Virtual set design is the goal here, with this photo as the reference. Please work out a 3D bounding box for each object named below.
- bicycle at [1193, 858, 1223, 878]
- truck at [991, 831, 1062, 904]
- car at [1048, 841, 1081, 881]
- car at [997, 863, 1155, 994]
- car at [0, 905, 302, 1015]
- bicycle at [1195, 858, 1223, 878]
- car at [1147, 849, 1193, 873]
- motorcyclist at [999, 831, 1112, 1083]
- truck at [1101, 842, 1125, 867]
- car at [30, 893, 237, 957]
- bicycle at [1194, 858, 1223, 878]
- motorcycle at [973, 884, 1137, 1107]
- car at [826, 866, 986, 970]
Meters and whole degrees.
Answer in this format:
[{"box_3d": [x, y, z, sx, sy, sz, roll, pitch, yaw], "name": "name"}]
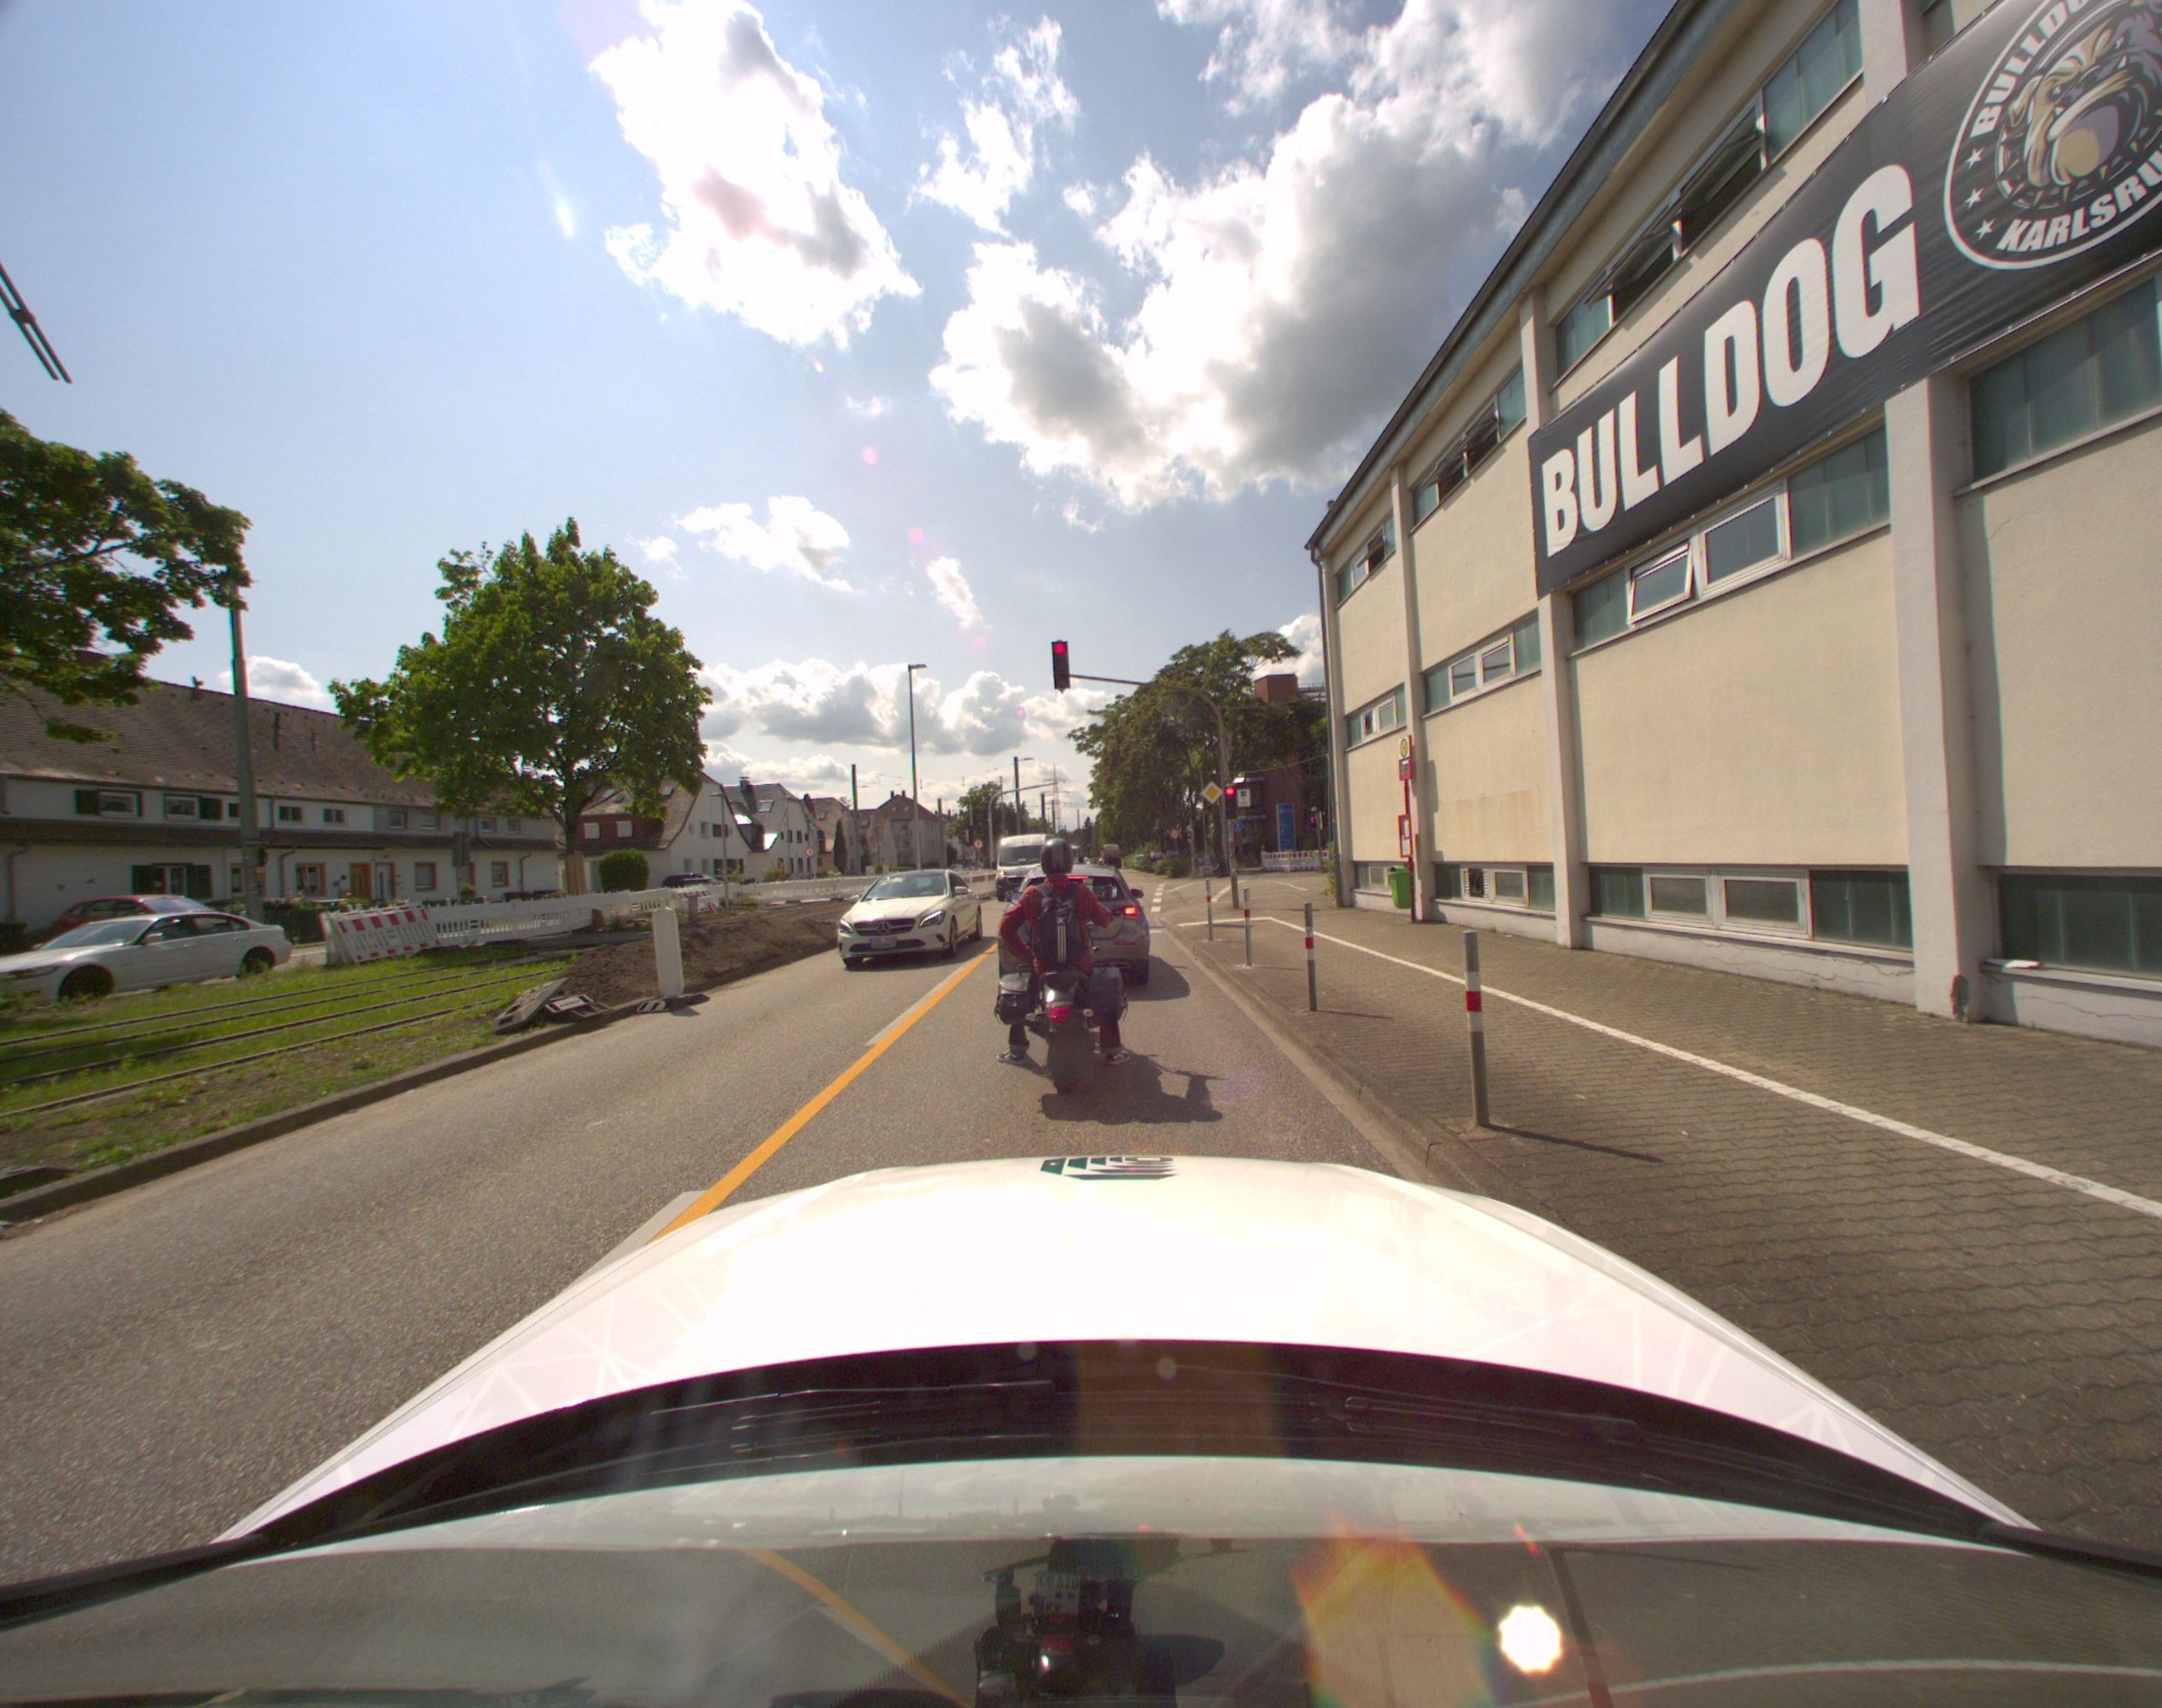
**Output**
[{"box_3d": [7.670, 0.871, 49.200, 1.699, 1.172, 0.438, -1, -1, 6], "name": "bicycle"}, {"box_3d": [-2.026, 0.448, 31.867, 2.085, 2.476, 5.198, -4, 1, 2], "name": "truck"}, {"box_3d": [-0.894, 0.429, 45.925, 1.583, 2.143, 3.628, -1, -1, 2], "name": "car"}, {"box_3d": [-0.170, 0.837, 11.022, 1.728, 1.403, 4.081, -1, 0, -3], "name": "car"}, {"box_3d": [-16.421, 1.749, 14.323, 1.538, 1.376, 4.245, -3, 0, -5], "name": "car"}, {"box_3d": [7.811, 0.852, 49.754, 1.699, 1.172, 0.438, -1, -1, 6], "name": "bicycle"}, {"box_3d": [7.621, 0.585, 69.537, 4.023, 1.926, 1.781, 0, -1, -44], "name": "car"}, {"box_3d": [-0.158, 0.666, 5.584, 0.696, 1.604, 0.692, -1, -1, 1], "name": "motorcyclist"}, {"box_3d": [4.290, 0.113, 109.007, 2.954, 3.173, 7.771, -1, -1, 4], "name": "truck"}, {"box_3d": [-27.980, 2.071, 24.145, 3.974, 1.509, 1.725, -3, 0, -1], "name": "car"}, {"box_3d": [7.871, 0.859, 50.297, 1.699, 1.172, 0.438, -1, -1, 6], "name": "bicycle"}, {"box_3d": [-0.126, 0.872, 5.993, 0.939, 1.200, 2.473, -1, 0, 1], "name": "motorcycle"}, {"box_3d": [-2.828, 0.978, 14.112, 1.738, 1.437, 4.084, -4, -1, 1], "name": "car"}]
